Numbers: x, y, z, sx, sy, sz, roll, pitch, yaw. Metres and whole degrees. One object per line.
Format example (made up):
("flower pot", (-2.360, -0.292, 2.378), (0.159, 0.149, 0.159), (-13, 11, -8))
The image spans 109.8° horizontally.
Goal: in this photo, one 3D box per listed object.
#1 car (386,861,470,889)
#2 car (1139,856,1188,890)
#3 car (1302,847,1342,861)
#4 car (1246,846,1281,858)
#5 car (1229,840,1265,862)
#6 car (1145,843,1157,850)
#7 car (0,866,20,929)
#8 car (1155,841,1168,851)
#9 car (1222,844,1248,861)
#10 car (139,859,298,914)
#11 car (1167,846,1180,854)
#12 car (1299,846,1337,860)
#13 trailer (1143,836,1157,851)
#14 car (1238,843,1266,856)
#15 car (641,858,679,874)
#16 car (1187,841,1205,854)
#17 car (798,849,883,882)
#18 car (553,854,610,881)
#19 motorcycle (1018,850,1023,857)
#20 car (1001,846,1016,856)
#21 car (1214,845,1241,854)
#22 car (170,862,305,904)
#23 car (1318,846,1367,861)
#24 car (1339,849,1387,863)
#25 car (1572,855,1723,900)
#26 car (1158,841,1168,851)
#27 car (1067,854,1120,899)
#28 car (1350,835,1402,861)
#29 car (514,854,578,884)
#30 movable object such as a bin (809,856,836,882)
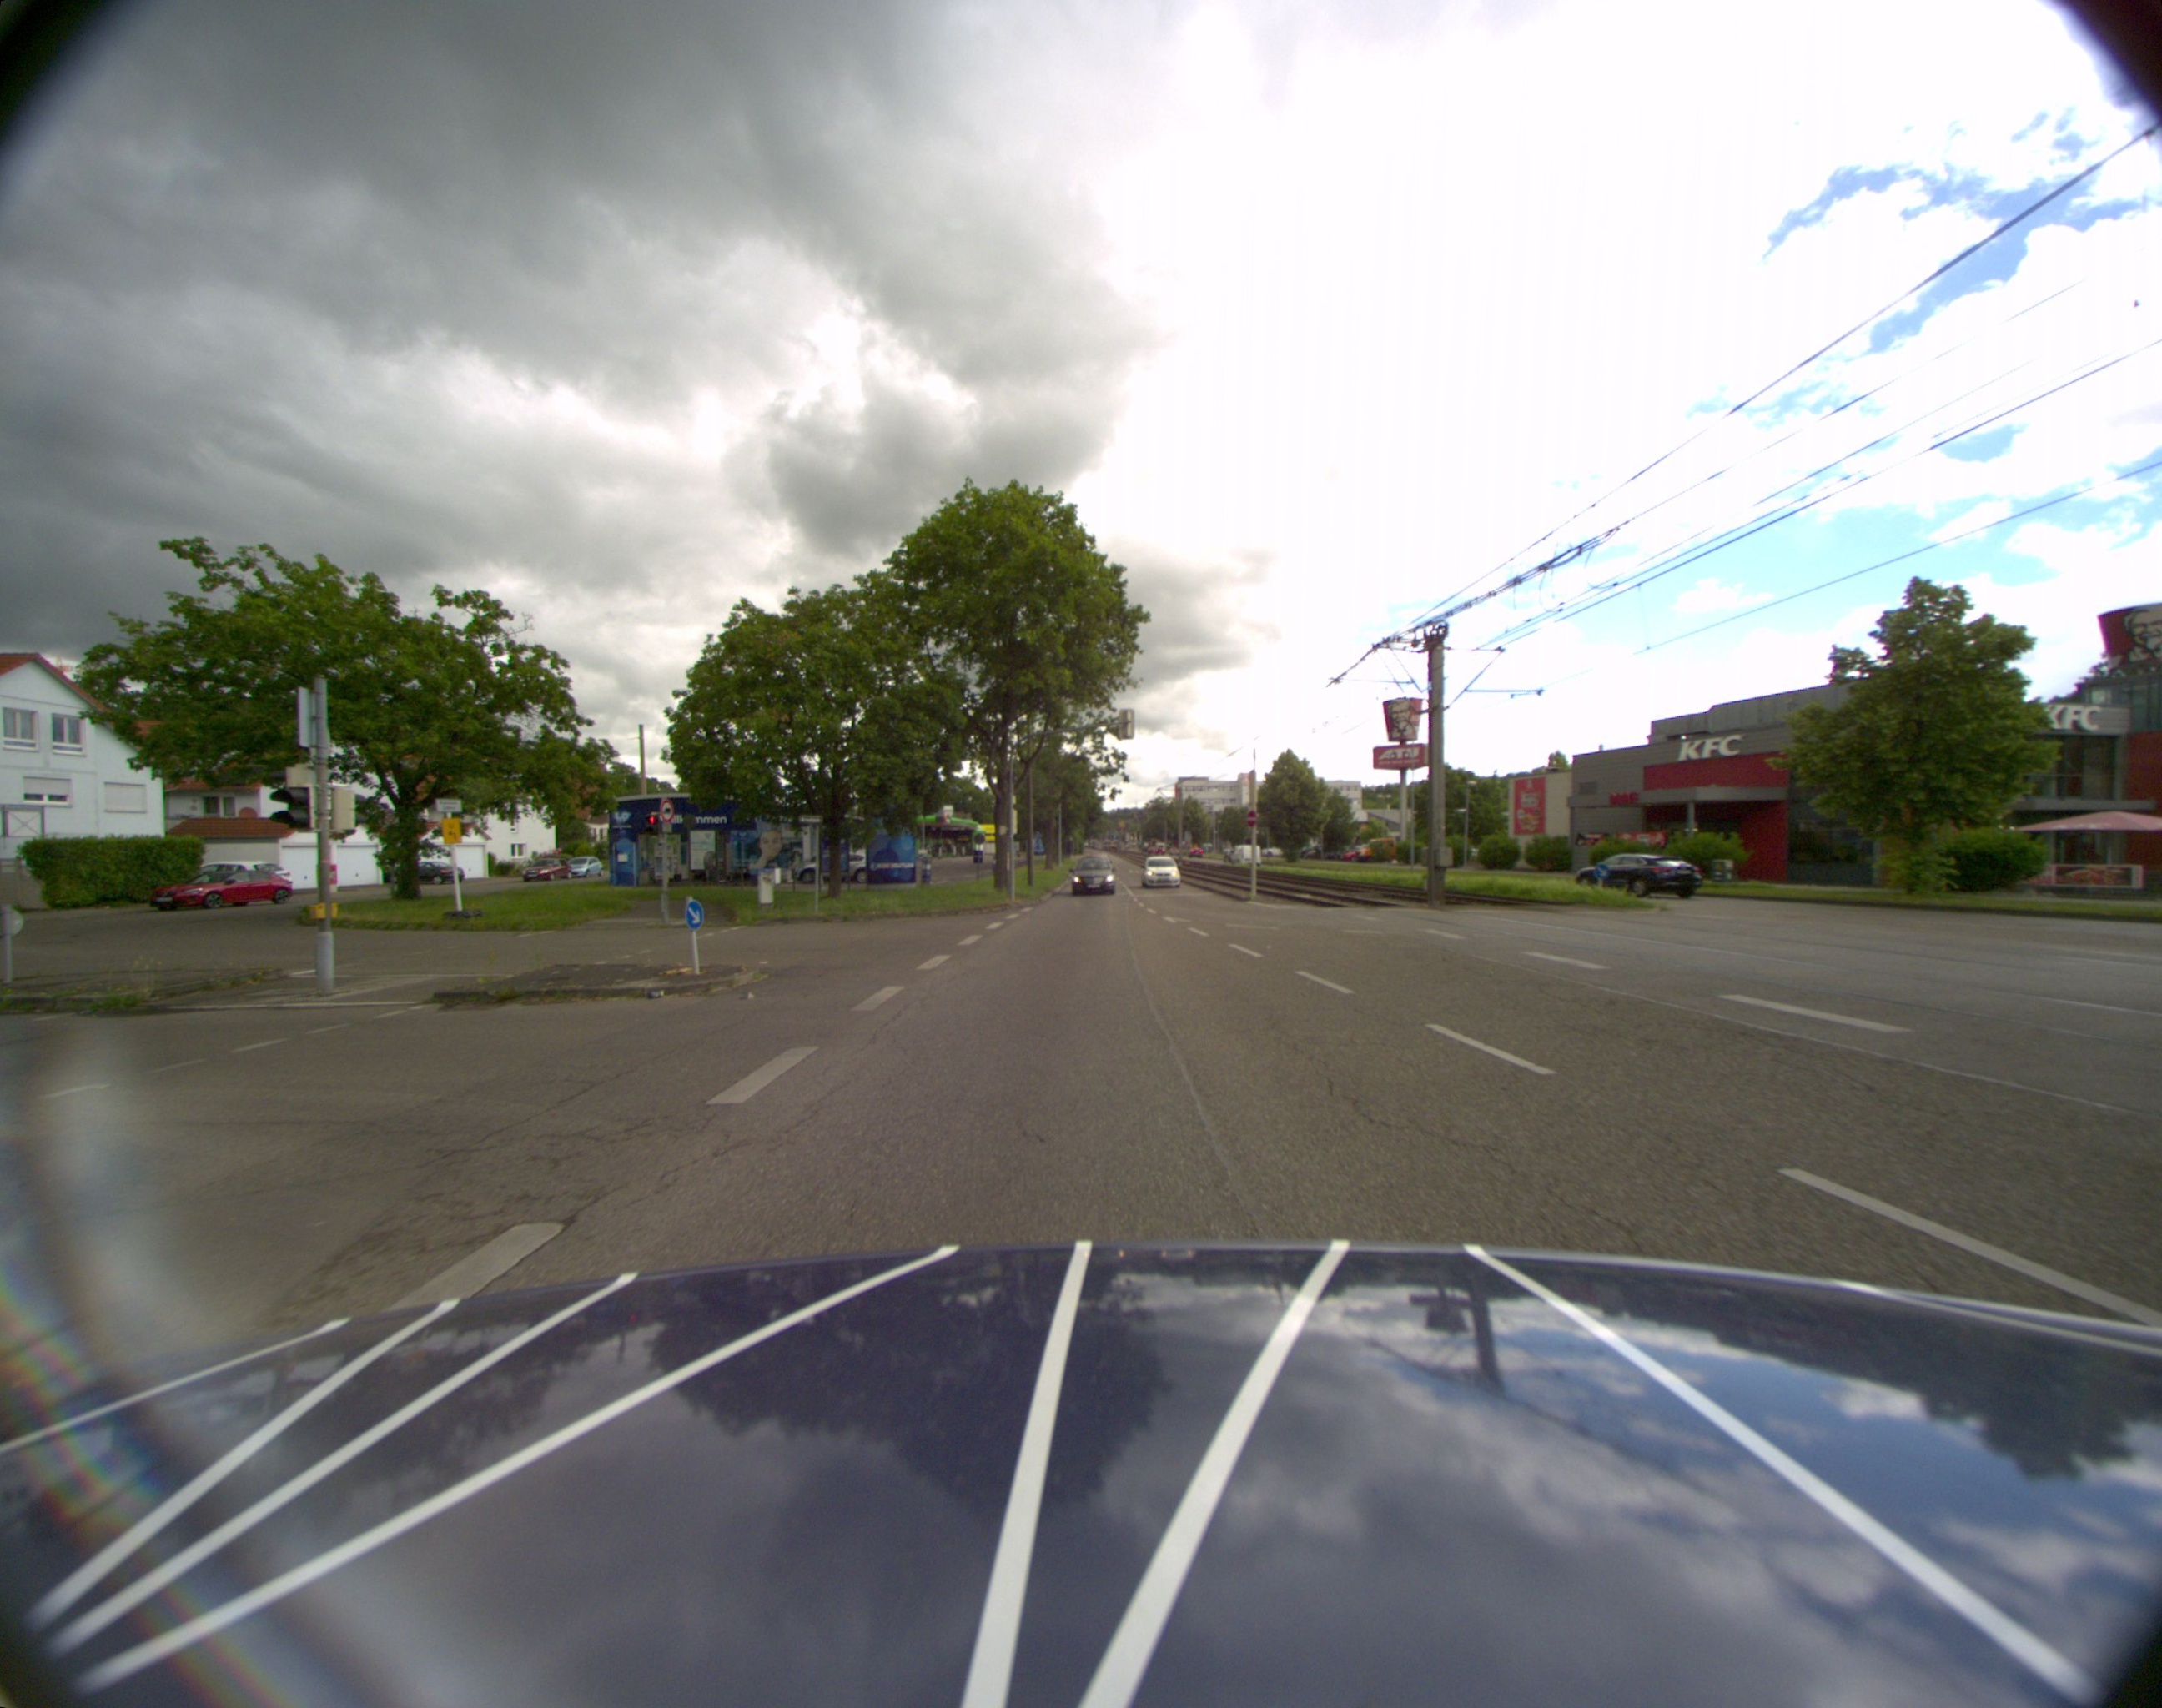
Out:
("car", (-39.793, 1.288, 46.363), (3.556, 1.449, 1.775), (-3, 1, 1))
("car", (3.964, 0.895, 37.188), (1.786, 1.435, 3.999), (-3, 1, -1))
("car", (28.142, -0.040, 88.736), (3.997, 1.413, 1.937), (-3, 1, 0))
("car", (26.630, -0.298, 110.880), (4.482, 1.498, 1.795), (-3, 1, -2))
("car", (15.835, -0.271, 72.605), (1.999, 2.002, 4.883), (0, 1, -5))
("car", (15.240, -1.613, 165.638), (1.788, 1.573, 4.480), (1, 1, -4))
("car", (-32.517, 1.350, 20.451), (1.722, 1.832, 4.406), (-3, 1, -3))
("car", (16.079, -1.563, 152.193), (1.999, 2.002, 3.998), (1, 1, -4))
("car", (18.548, -0.156, 91.622), (1.999, 2.002, 4.105), (0, 1, -4))
("car", (-33.121, 1.171, 29.367), (1.620, 1.832, 3.922), (-3, 1, -3))
("car", (18.468, -0.851, 152.349), (1.999, 1.474, 3.999), (1, 1, 0))
("car", (29.139, -0.111, 93.586), (3.997, 1.498, 1.937), (-3, 1, 0))
("trailer", (19.272, -3.010, 213.067), (2.678, 3.874, 14.423), (1, 1, 1))
("car", (29.115, -0.822, 129.648), (4.355, 1.908, 2.000), (-3, 1, 4))
("car", (-40.855, 1.137, 73.794), (2.000, 1.456, 3.996), (-3, 1, -11))
("car", (18.437, -1.031, 121.908), (1.999, 2.002, 4.245), (0, 1, -4))
("car", (-12.874, 0.581, 40.738), (4.216, 1.687, 1.837), (0, 0, -19))
("car", (-37.078, 0.984, 56.550), (1.948, 1.832, 4.461), (-3, 1, -12))
("motorcycle", (-9.865, -0.095, 123.425), (0.704, 1.180, 2.387), (0, 1, -6))
("car", (-12.369, -0.510, 129.118), (1.998, 1.629, 4.326), (2, 1, 1))
("car", (26.817, -0.874, 139.171), (4.611, 1.484, 2.000), (-3, 1, 4))
("car", (-39.200, 1.322, 35.387), (3.812, 1.685, 1.919), (-3, 1, -6))
("car", (28.037, -0.093, 81.589), (4.384, 1.346, 2.195), (-3, 1, 0))
("car", (28.252, 0.183, 76.236), (3.997, 1.229, 2.000), (-3, 1, 0))
("car", (20.614, 0.806, 27.955), (1.999, 1.473, 4.505), (1, -1, -3))
("car", (19.620, -1.903, 182.070), (1.874, 2.485, 5.998), (1, 1, -1))
("car", (0.567, 0.874, 31.321), (1.785, 1.614, 4.001), (-2, 0, 6))
("car", (27.549, -0.579, 71.046), (3.997, 2.153, 2.058), (-3, 1, 0))
("car", (-35.966, 0.987, 51.195), (1.948, 1.832, 4.247), (-3, 1, -12))
("movable object such as a bin", (-15.133, 0.848, 44.502), (1.161, 1.466, 1.387), (0, 1, -3))
